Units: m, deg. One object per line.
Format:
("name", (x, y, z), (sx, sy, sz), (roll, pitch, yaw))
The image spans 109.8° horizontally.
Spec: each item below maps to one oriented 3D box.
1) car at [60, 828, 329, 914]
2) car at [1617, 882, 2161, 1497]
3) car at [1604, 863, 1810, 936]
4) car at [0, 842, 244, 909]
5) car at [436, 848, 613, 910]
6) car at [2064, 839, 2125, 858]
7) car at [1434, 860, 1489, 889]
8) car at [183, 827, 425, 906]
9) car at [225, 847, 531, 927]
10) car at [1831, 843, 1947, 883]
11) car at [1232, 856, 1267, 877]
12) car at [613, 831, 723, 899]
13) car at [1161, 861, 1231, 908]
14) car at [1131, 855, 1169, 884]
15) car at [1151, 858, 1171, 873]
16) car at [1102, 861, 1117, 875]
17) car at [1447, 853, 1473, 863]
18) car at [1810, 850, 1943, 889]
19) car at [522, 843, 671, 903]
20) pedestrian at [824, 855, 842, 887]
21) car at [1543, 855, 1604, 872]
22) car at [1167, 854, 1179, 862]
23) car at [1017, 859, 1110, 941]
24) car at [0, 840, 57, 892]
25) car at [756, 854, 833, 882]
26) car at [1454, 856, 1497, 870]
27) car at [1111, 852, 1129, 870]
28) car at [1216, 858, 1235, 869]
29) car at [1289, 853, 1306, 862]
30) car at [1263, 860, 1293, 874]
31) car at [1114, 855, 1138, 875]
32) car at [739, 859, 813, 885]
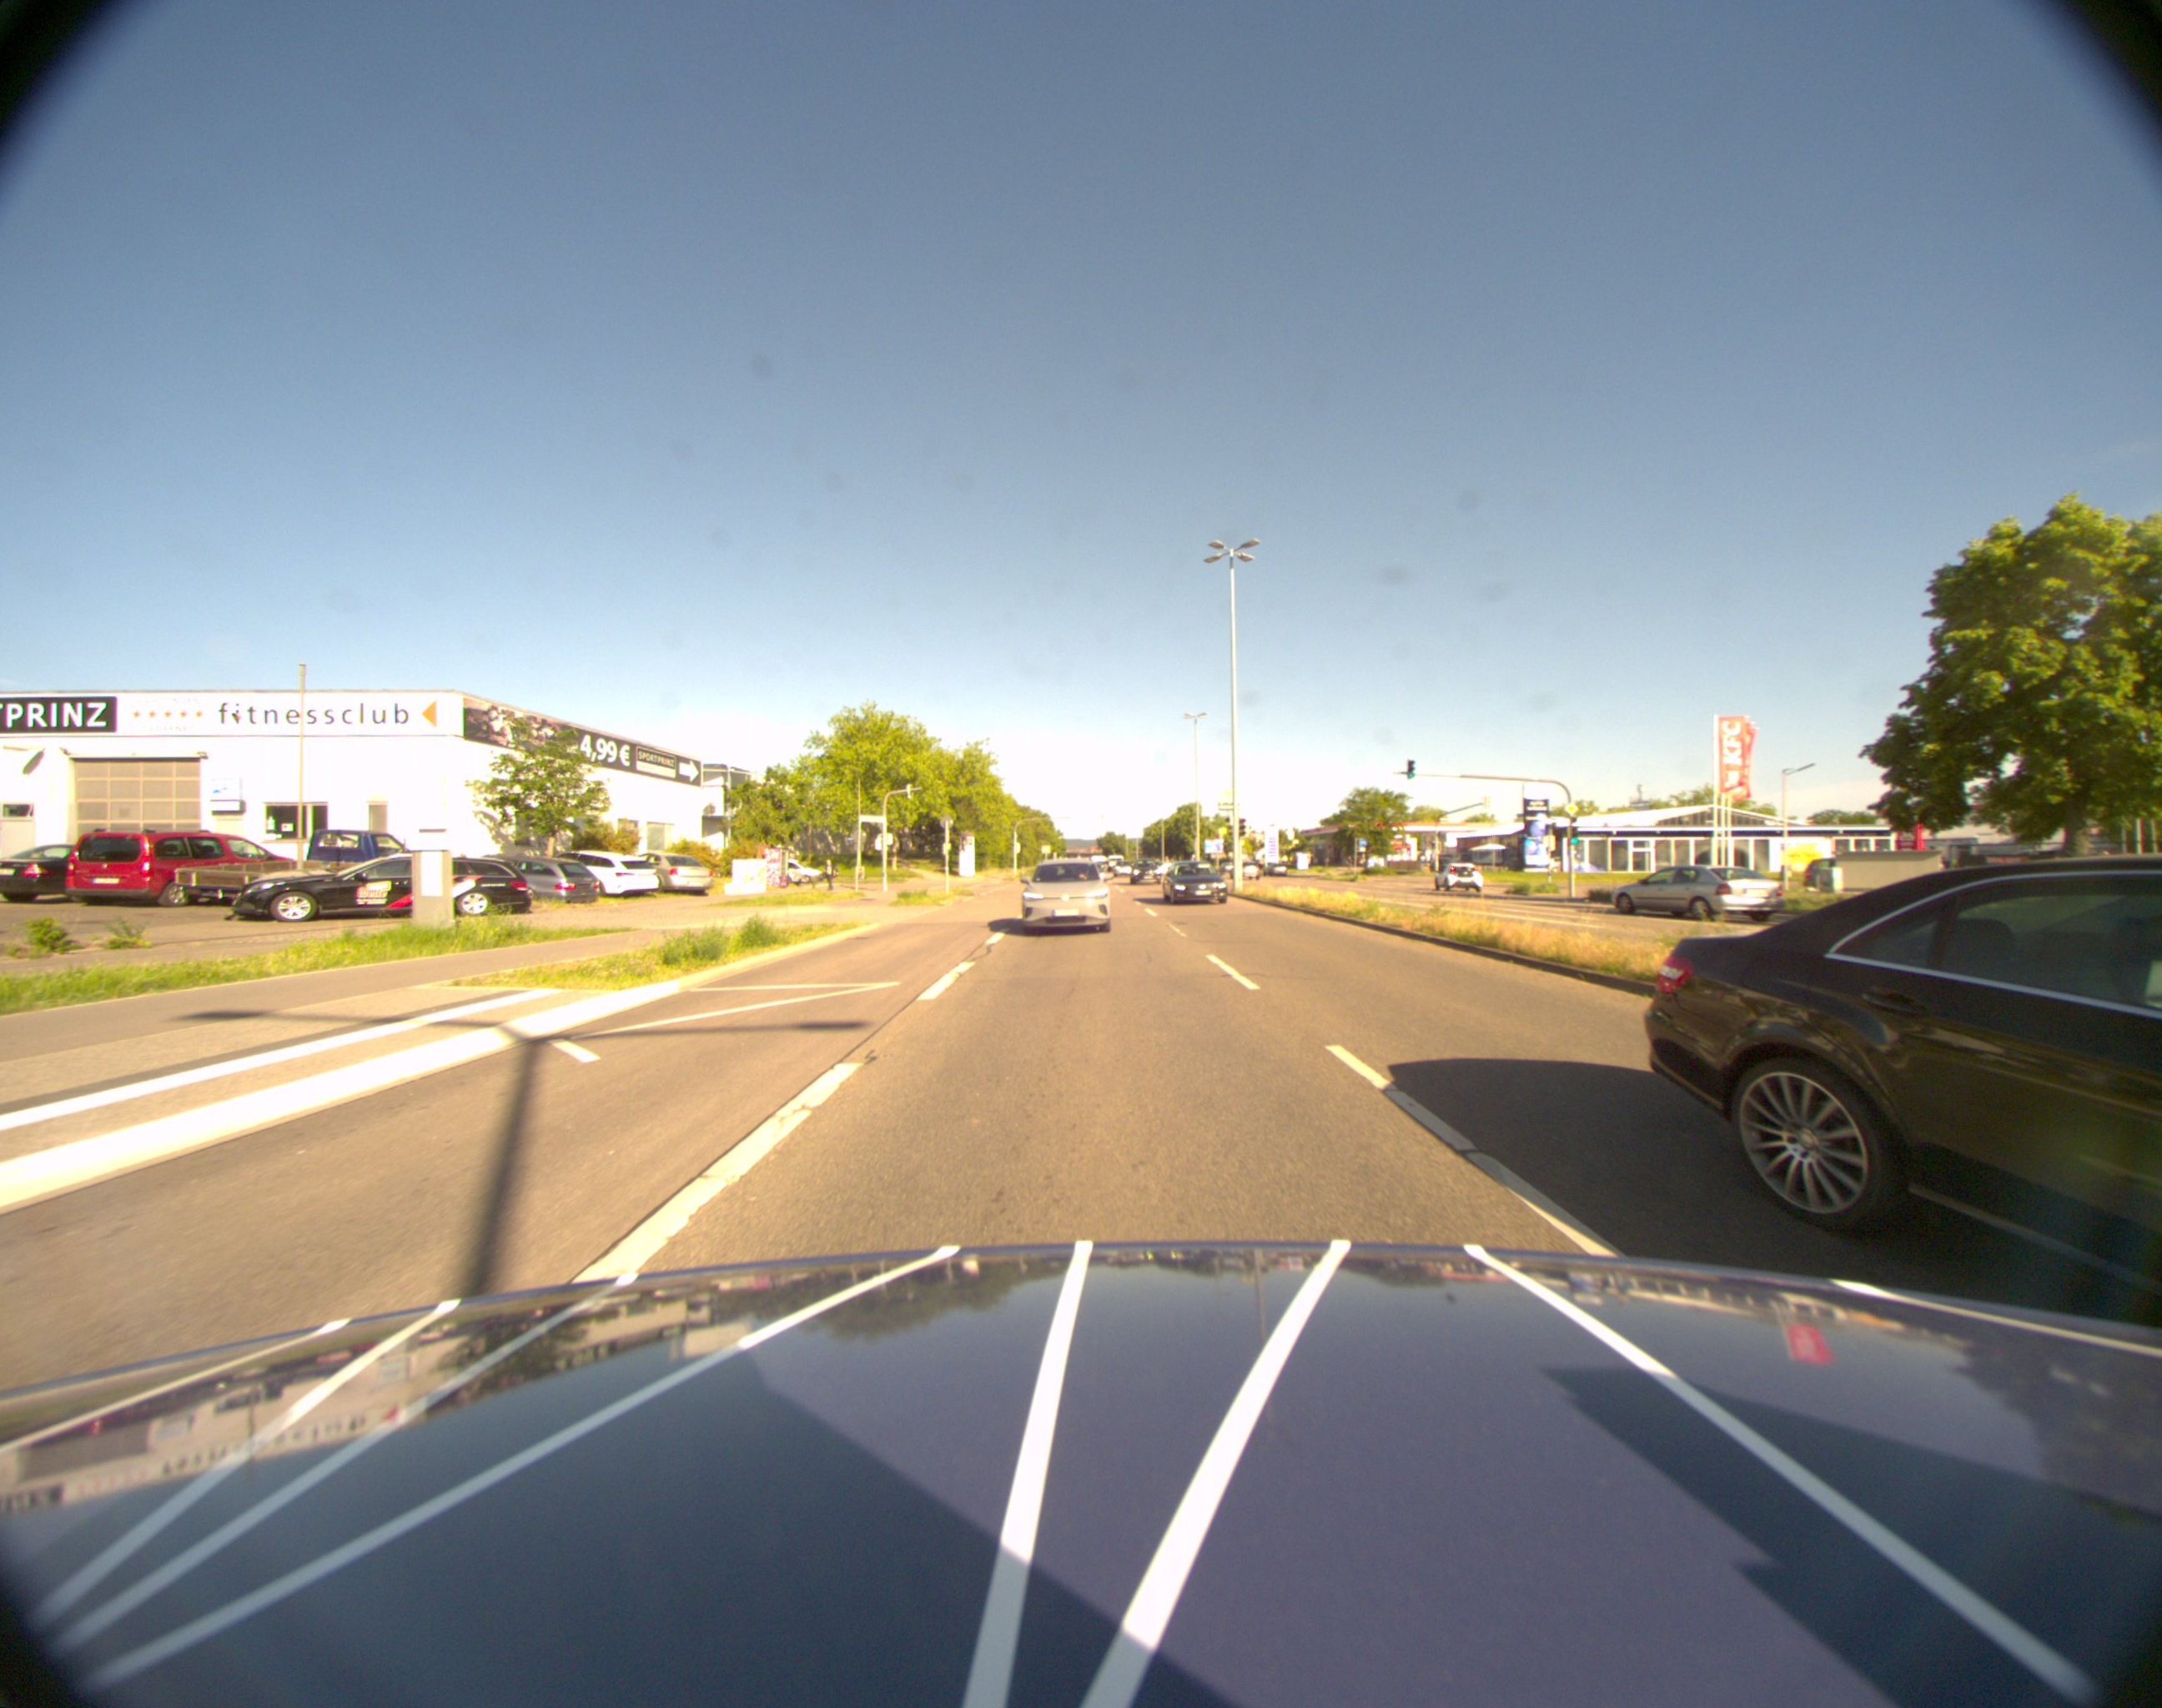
("car", (-22.115, 0.380, 19.270), (1.898, 1.850, 4.215), (3, 0, -2))
("car", (3.728, 0.888, 1.473), (1.964, 1.474, 4.918), (-1, 0, 1))
("car", (16.289, 1.102, 20.113), (1.998, 1.674, 4.177), (1, 0, 0))
("car", (-24.337, 0.456, 19.192), (1.771, 1.245, 4.214), (5, 2, -2))
("car", (-15.730, 0.681, 21.624), (3.614, 1.283, 1.841), (6, 1, 2))
("car", (116.811, -0.626, 87.669), (1.905, 2.081, 4.108), (1, 0, -39))
("car", (20.567, 1.065, 41.248), (1.996, 1.465, 4.201), (0, 0, 17))
("car", (-20.124, 0.274, 20.031), (1.687, 1.772, 4.595), (3, 0, -2))
("car", (-15.585, 0.718, 17.151), (1.895, 1.522, 4.847), (2, 0, 44))
("car", (40.142, 0.461, 37.824), (1.851, 1.840, 3.820), (-2, 0, -39))
("car", (13.693, 1.010, 61.974), (1.879, 1.632, 4.171), (1, 0, 0))
("car", (-15.279, 0.378, 28.051), (3.986, 2.002, 1.690), (7, 0, 33))
("car", (3.900, 0.980, 26.445), (1.848, 1.445, 4.266), (-1, 0, 1))
("car", (4.398, 0.942, 48.851), (1.998, 1.674, 4.696), (-2, 0, 1))
("car", (8.243, 1.167, 78.586), (1.790, 1.447, 4.116), (0, 0, 1))
("car", (4.345, 2.193, 116.266), (1.998, 2.002, 4.000), (-2, 0, 0))
("car", (56.683, 0.628, 113.668), (1.772, 1.432, 4.119), (-1, 0, -1))
("car", (36.528, 0.698, 34.992), (1.899, 1.652, 4.122), (-2, 0, -42))
("car", (-15.787, 0.603, 24.825), (3.924, 1.444, 1.727), (7, 1, 12))
("pedestrian", (-13.320, 0.927, 40.755), (0.759, 1.706, 0.617), (0, 1, 0))
("car", (43.829, 0.855, 67.688), (4.116, 1.424, 1.901), (1, 0, 1))
("car", (18.612, 0.780, 154.114), (1.900, 1.590, 4.267), (1, 0, 1))
("car", (-0.313, 0.944, 17.547), (1.848, 1.615, 4.266), (-1, 0, 1))
("car", (-31.586, 0.283, 20.848), (4.213, 1.400, 1.994), (2, 0, 0))
("car", (-20.150, 0.974, 53.618), (4.692, 1.922, 1.872), (-1, 0, 1))
("car", (37.833, 0.862, 72.961), (1.900, 1.317, 4.119), (1, 0, -1))
("car", (5.152, 0.908, 100.981), (2.089, 2.229, 4.000), (-2, 0, 1))
("car", (20.455, 1.391, 107.834), (1.998, 1.516, 4.196), (0, -1, 0))
("car", (38.466, 0.602, 135.056), (1.762, 1.604, 4.119), (1, 0, -1))
("car", (20.721, 1.331, 80.241), (1.998, 1.368, 4.623), (0, 0, 0))
("car", (4.229, 0.990, 71.604), (1.998, 1.778, 4.271), (-2, 0, 1))
("car", (-20.111, 1.158, 50.156), (4.100, 1.636, 1.901), (0, 1, 1))
